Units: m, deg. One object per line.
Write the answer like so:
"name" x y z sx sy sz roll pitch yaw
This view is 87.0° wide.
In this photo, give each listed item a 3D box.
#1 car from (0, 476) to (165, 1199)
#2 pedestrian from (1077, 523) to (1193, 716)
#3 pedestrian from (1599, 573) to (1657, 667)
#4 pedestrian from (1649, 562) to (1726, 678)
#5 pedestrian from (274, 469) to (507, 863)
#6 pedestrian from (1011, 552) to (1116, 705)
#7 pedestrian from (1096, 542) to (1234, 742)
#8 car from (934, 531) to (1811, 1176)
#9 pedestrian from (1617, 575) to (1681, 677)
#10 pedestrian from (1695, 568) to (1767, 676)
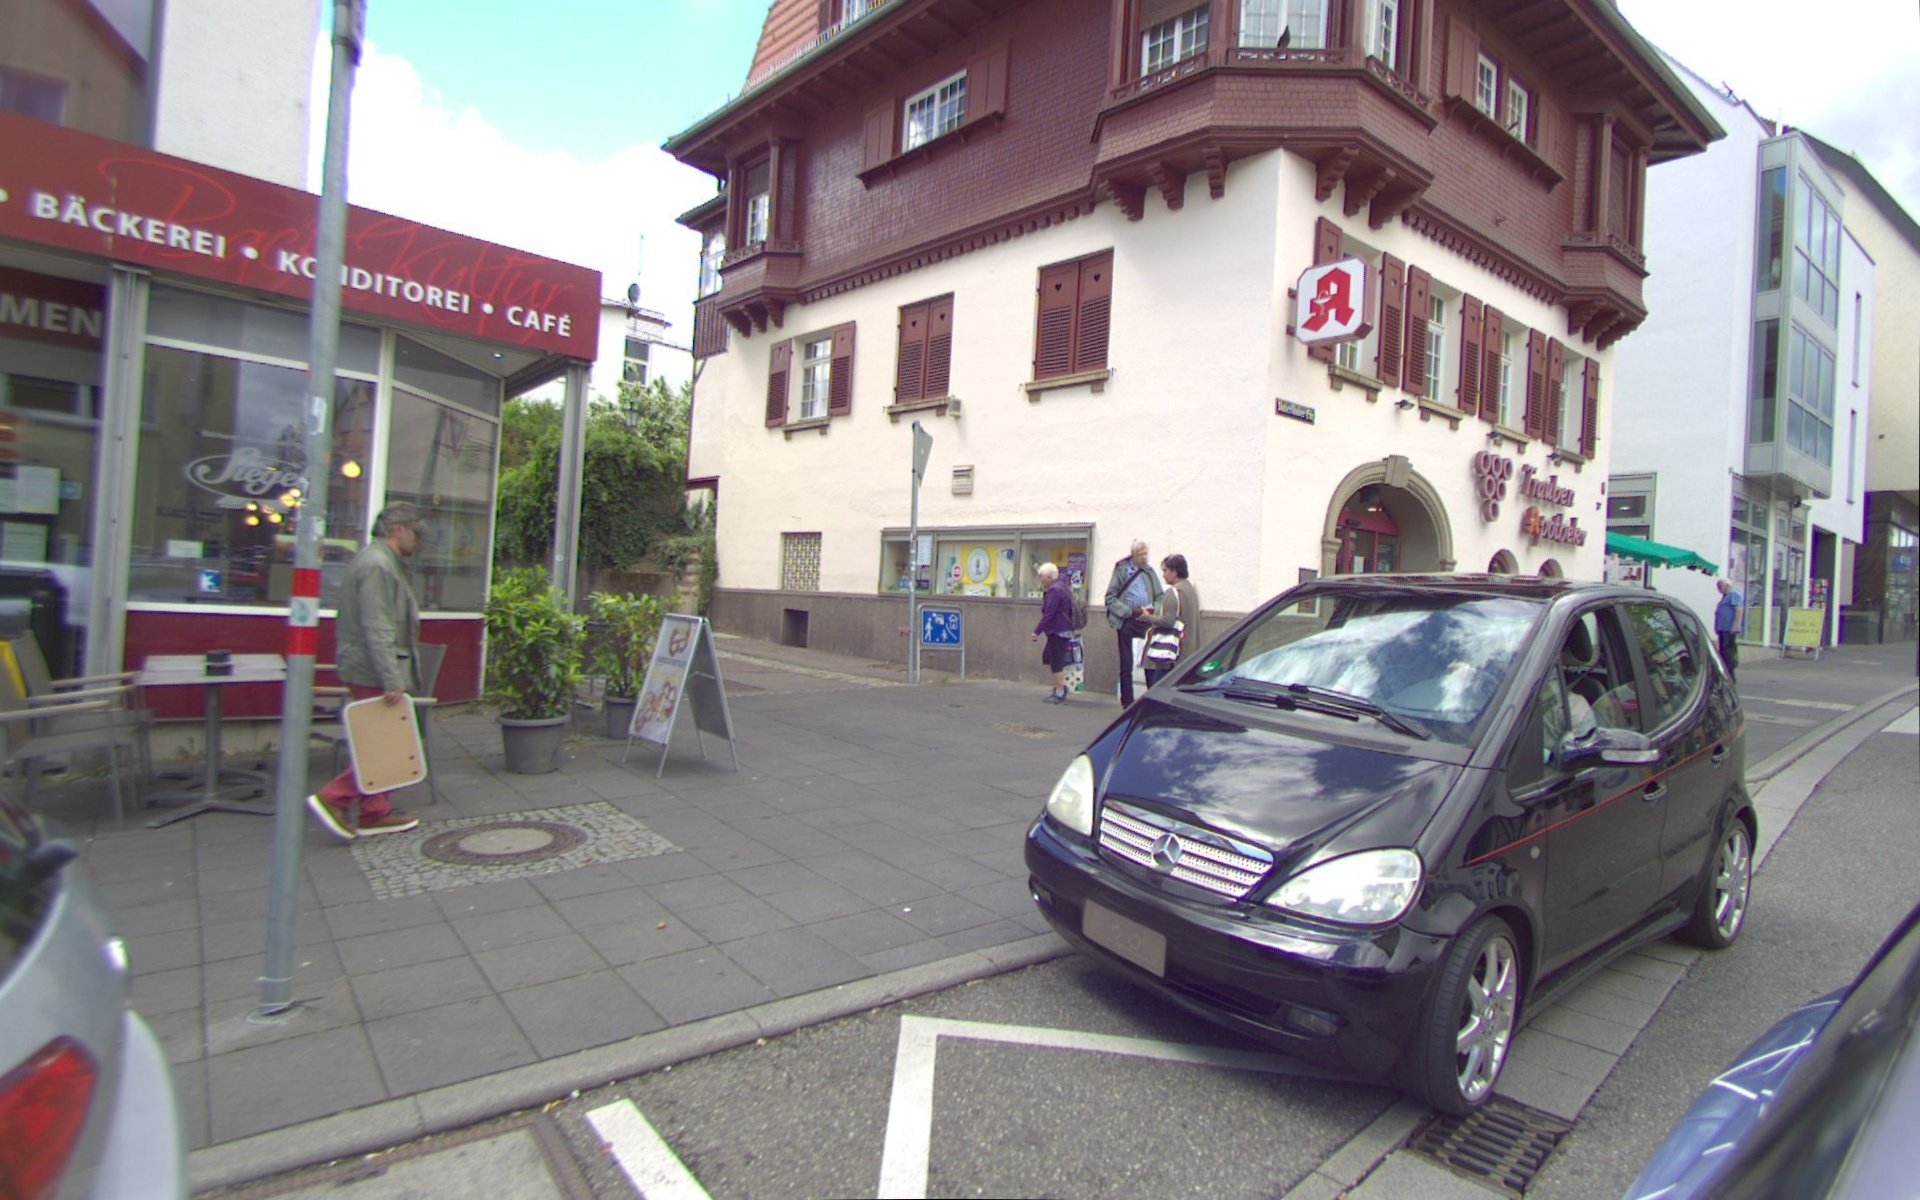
"car" -2.714 0.616 0.218 3.930 1.486 1.706 0 2 -41
"pedestrian" 1.718 0.176 9.957 0.802 1.791 0.776 0 0 -37
"pedestrian" 11.973 0.349 18.137 0.689 1.633 0.626 0 1 -33
"pedestrian" 12.188 0.320 16.976 0.690 1.880 0.780 1 1 5
"pedestrian" -2.838 0.278 5.051 0.926 1.728 0.867 0 1 -32
"pedestrian" 1.117 0.283 10.966 0.792 1.549 0.727 0 4 -32
"pedestrian" 1.810 0.334 8.959 0.853 1.665 0.776 0 2 -32
"car" 1.987 0.589 4.380 3.881 1.574 1.808 0 2 -38
"pedestrian" 11.367 0.410 16.697 0.689 1.633 0.626 0 1 -33
"pedestrian" 13.020 0.358 17.101 0.612 1.789 0.704 1 1 -12
